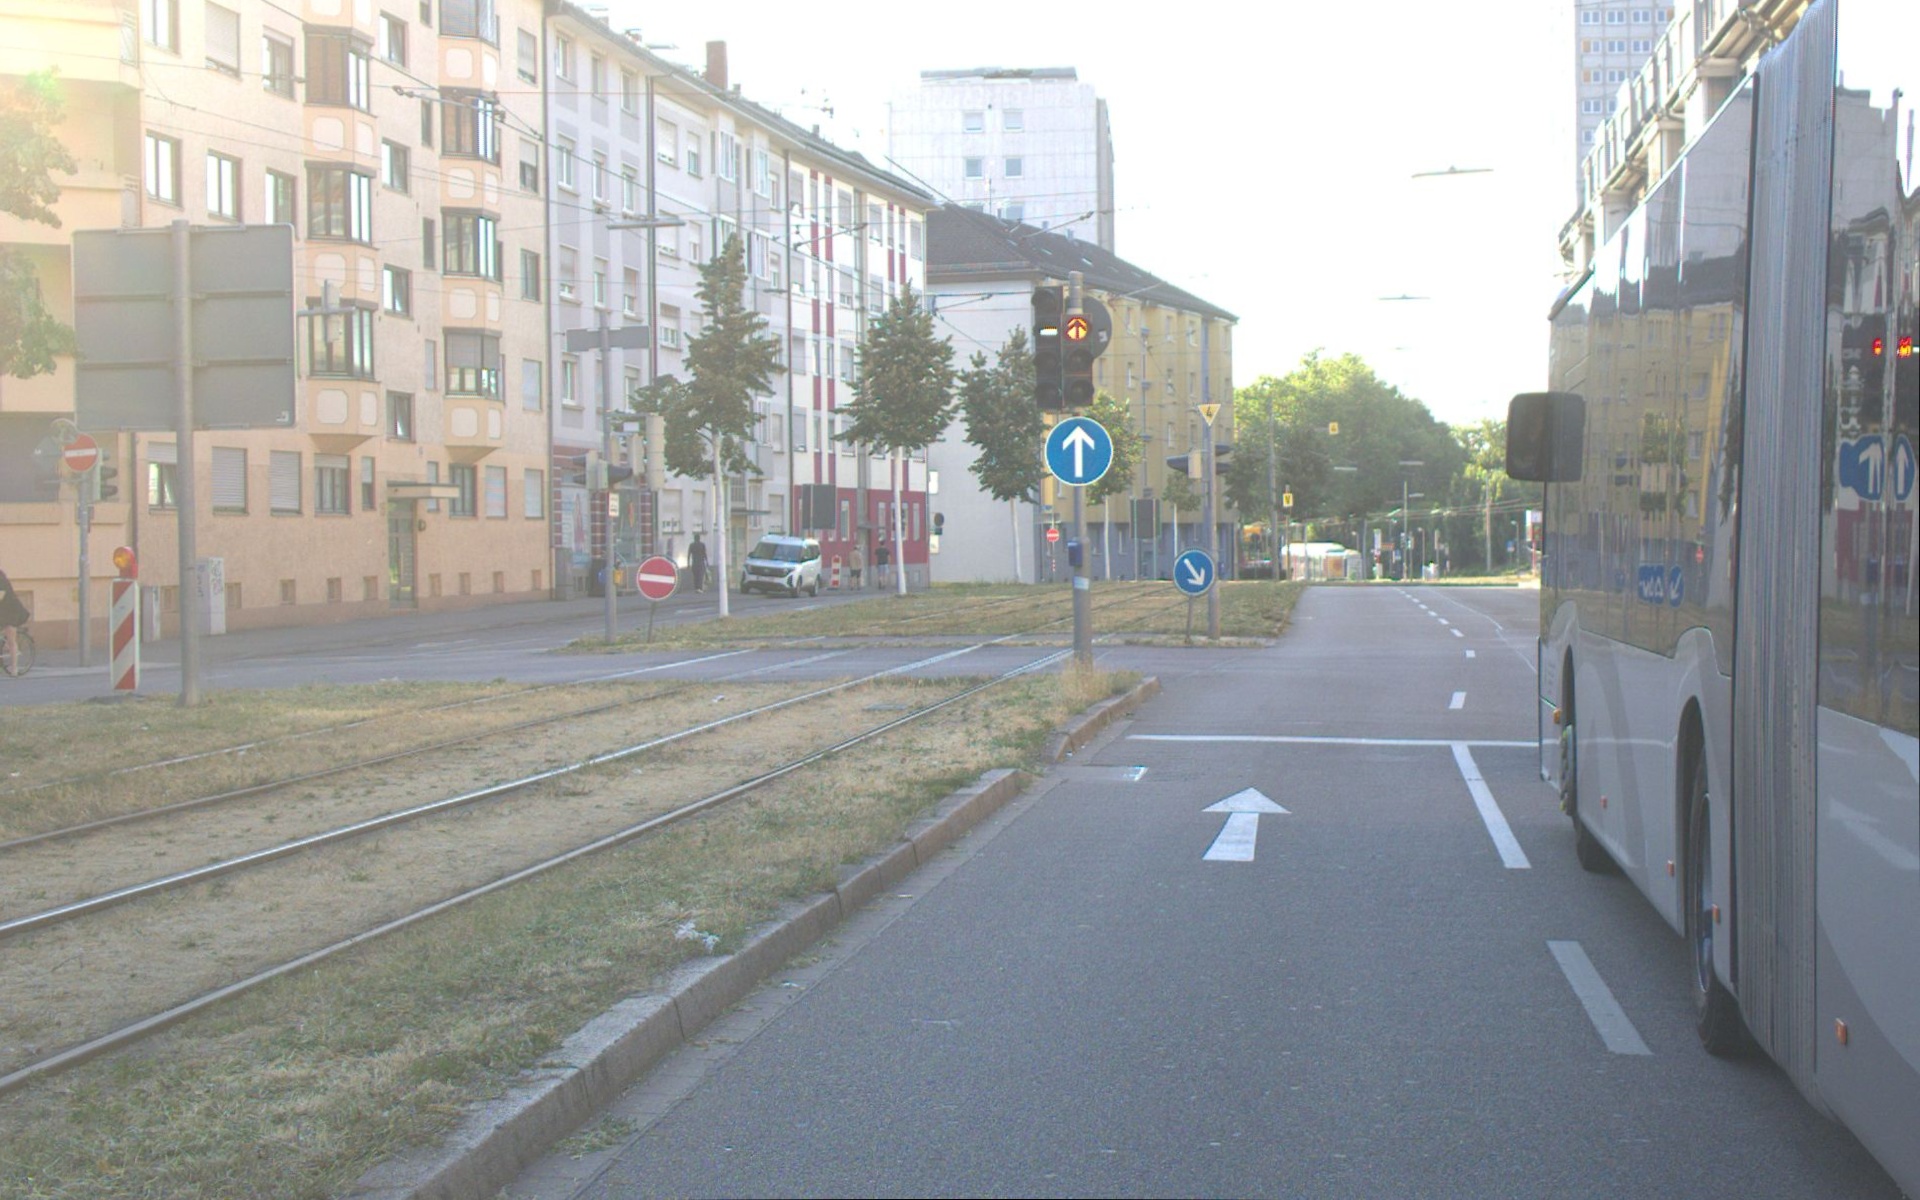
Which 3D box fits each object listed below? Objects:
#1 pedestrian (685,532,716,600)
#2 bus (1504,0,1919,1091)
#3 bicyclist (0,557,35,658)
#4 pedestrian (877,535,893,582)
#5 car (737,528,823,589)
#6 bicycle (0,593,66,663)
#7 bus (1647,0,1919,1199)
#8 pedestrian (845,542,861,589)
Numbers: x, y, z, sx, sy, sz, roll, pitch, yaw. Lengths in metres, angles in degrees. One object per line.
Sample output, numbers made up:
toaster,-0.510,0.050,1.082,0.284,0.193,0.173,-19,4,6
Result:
pedestrian,-7.763,-1.016,102.829,0.786,2.007,0.891,-1,1,3
bus,3.809,-0.242,13.903,2.739,3.045,9.129,1,1,7
bicyclist,-13.928,0.109,49.643,0.529,1.442,0.963,0,1,37
pedestrian,-2.708,-1.499,124.099,0.495,1.652,0.408,-1,1,7
car,-5.505,-1.252,105.499,1.812,1.791,4.243,1,1,8
bicycle,-13.886,0.408,49.766,0.529,0.980,1.879,0,1,37
bus,2.789,-0.083,4.974,2.739,3.045,8.851,1,1,7
pedestrian,-3.856,-1.244,123.847,0.495,1.652,0.408,-1,1,7
